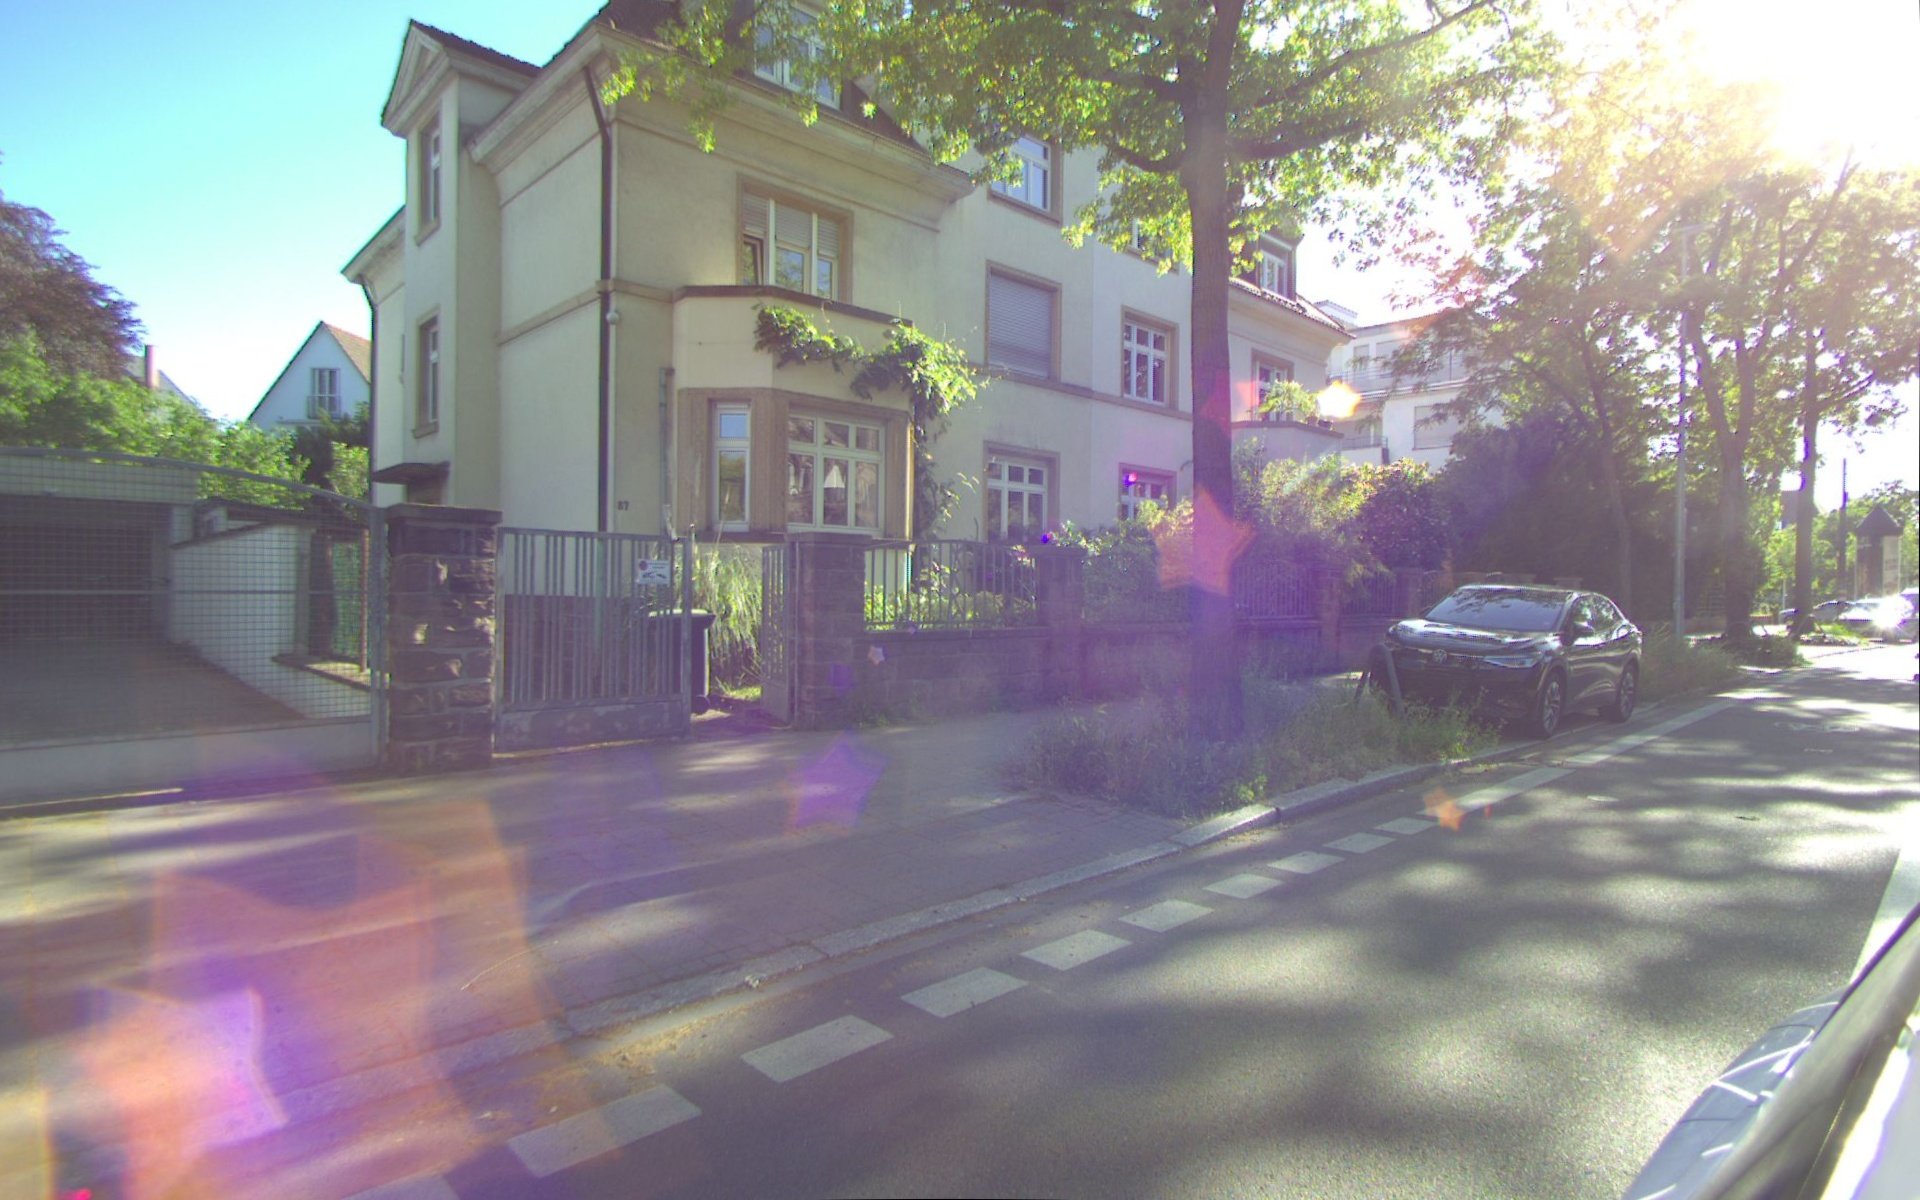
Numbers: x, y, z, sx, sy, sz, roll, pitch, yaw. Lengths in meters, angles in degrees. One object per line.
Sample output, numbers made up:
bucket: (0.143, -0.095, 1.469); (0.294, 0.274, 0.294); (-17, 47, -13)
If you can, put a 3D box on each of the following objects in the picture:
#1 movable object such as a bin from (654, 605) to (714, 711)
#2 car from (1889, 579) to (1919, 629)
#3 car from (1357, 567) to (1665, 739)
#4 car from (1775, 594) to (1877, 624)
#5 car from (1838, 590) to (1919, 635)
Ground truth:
movable object such as a bin: (-2.916, 0.589, 10.679); (0.551, 1.062, 0.676); (0, 0, -20)
car: (36.675, 0.128, 37.869); (4.580, 1.808, 1.903); (0, 1, -35)
car: (6.716, 0.499, 12.145); (4.186, 1.619, 1.917); (0, 4, -42)
car: (46.067, 0.457, 53.854); (1.784, 1.459, 3.990); (0, 1, -44)
car: (31.515, 0.382, 34.286); (4.181, 1.427, 1.901); (0, 1, -38)
